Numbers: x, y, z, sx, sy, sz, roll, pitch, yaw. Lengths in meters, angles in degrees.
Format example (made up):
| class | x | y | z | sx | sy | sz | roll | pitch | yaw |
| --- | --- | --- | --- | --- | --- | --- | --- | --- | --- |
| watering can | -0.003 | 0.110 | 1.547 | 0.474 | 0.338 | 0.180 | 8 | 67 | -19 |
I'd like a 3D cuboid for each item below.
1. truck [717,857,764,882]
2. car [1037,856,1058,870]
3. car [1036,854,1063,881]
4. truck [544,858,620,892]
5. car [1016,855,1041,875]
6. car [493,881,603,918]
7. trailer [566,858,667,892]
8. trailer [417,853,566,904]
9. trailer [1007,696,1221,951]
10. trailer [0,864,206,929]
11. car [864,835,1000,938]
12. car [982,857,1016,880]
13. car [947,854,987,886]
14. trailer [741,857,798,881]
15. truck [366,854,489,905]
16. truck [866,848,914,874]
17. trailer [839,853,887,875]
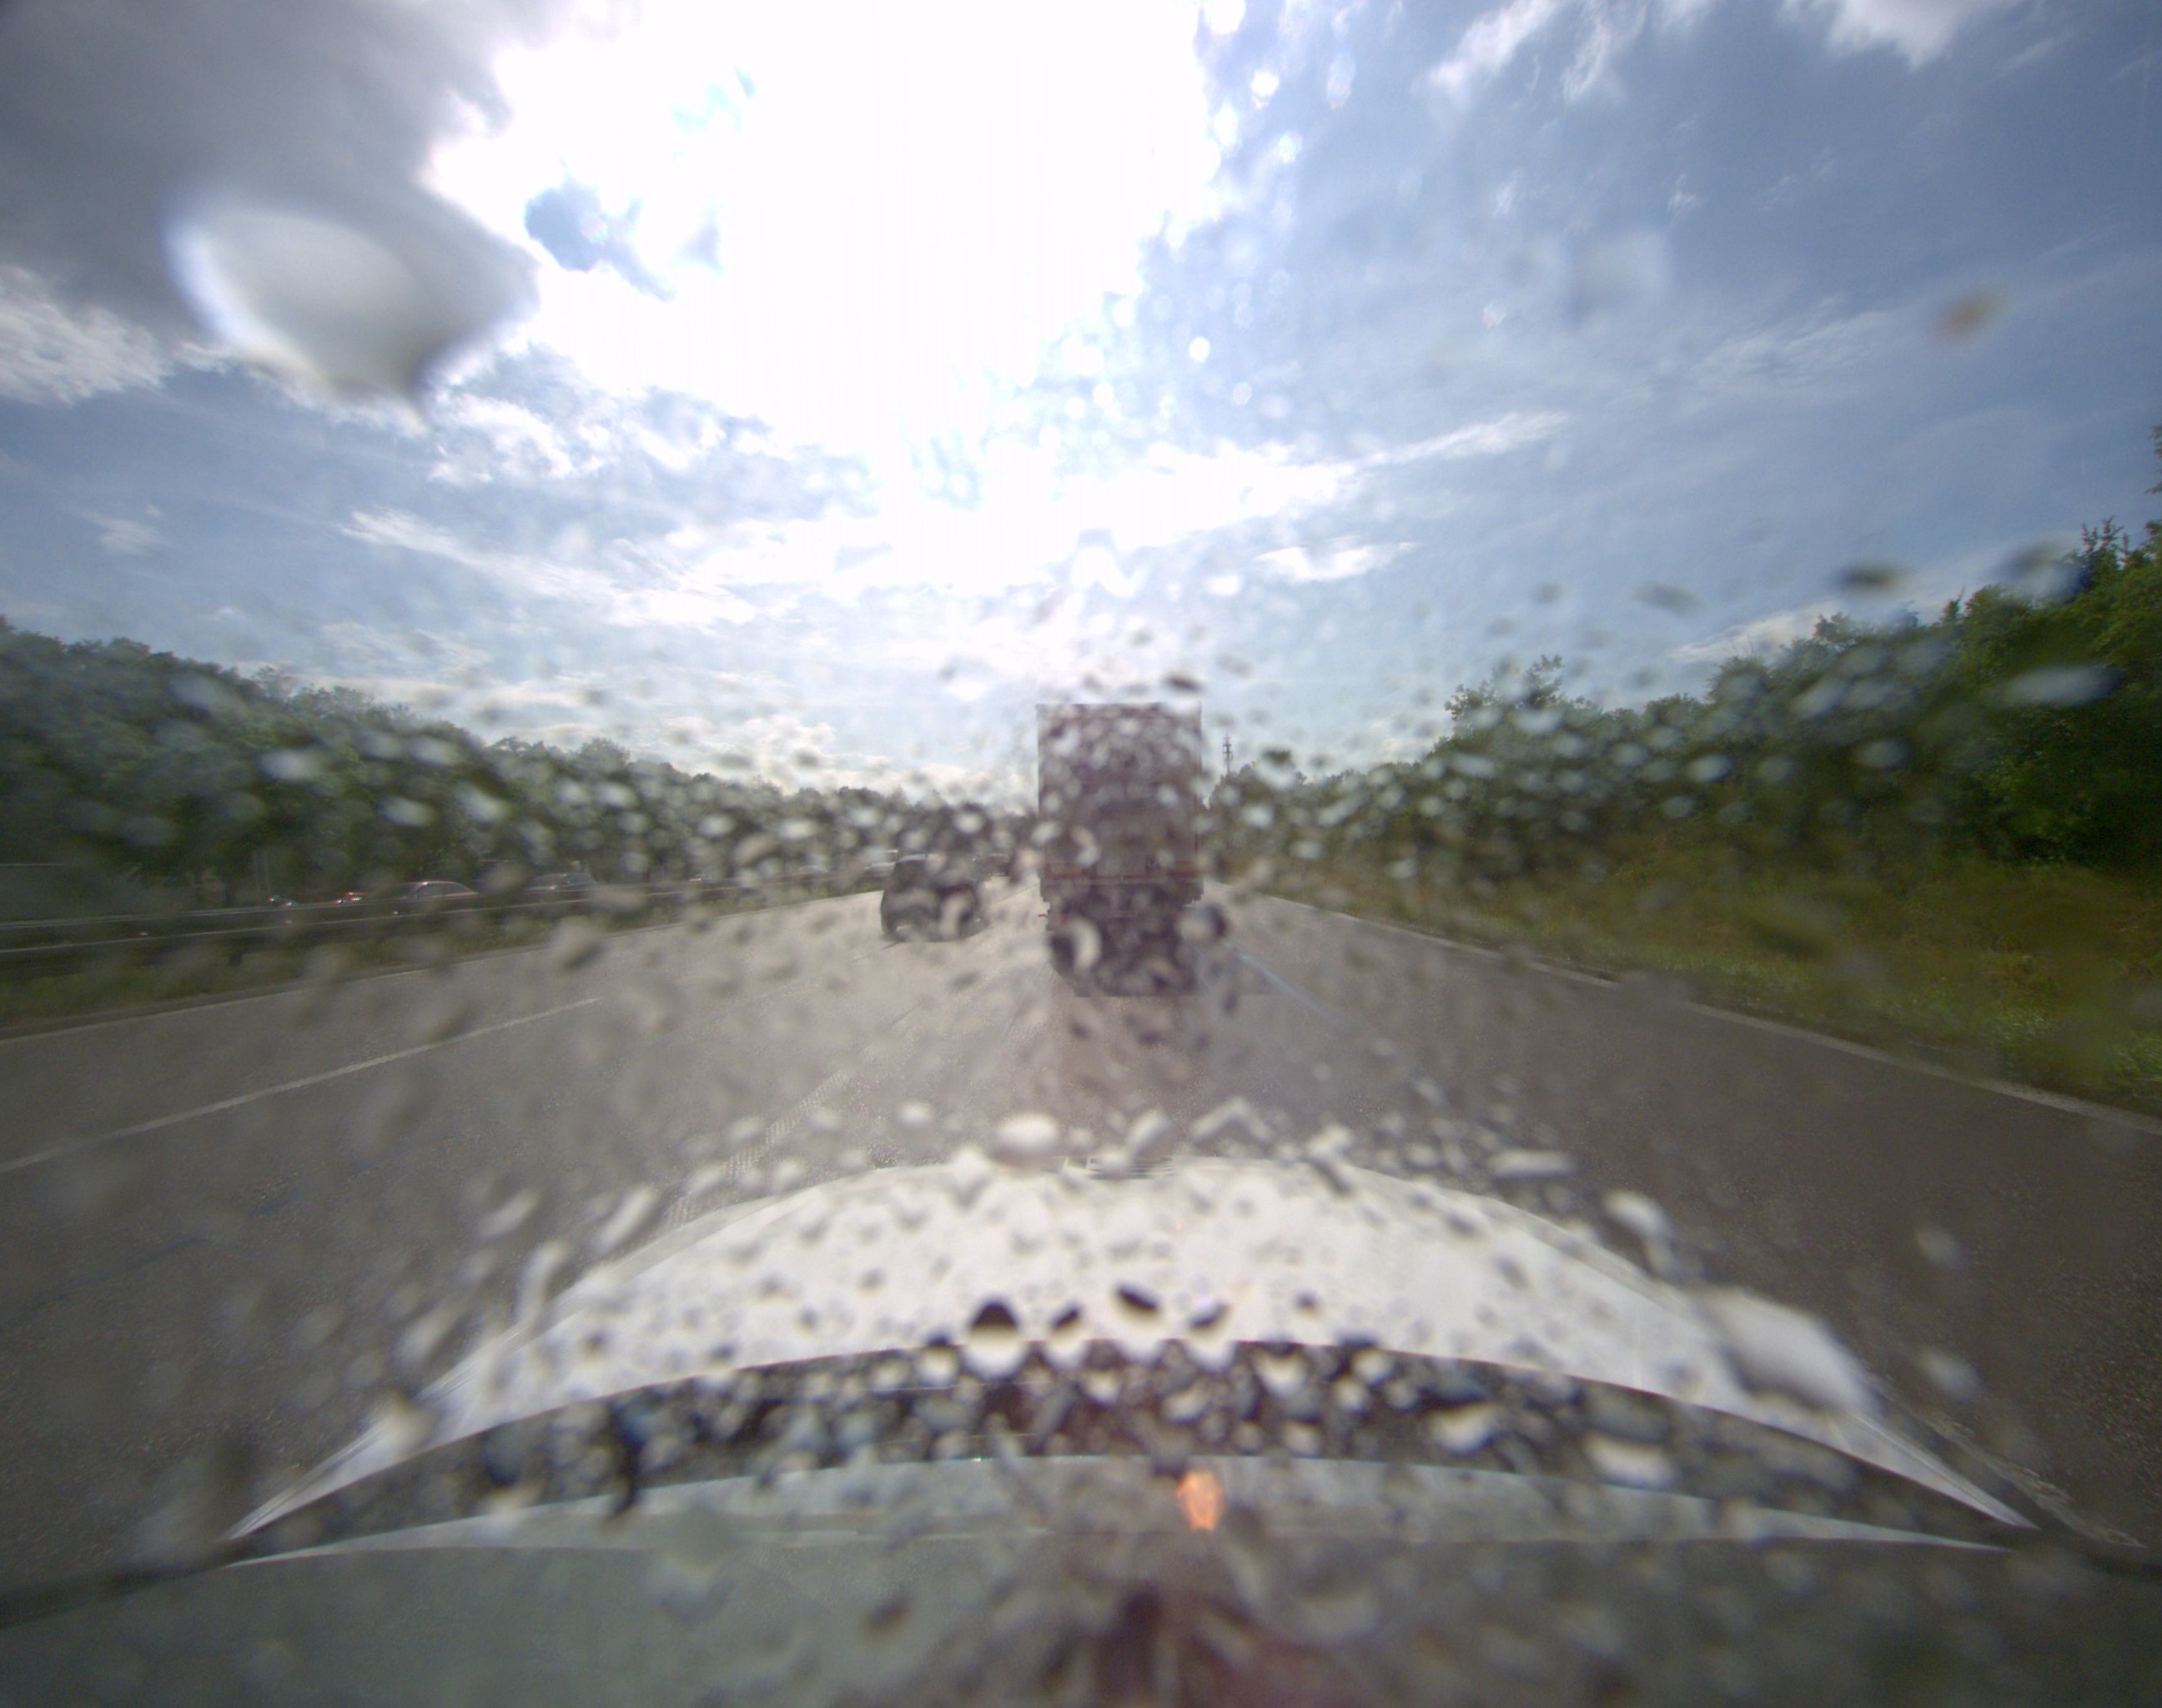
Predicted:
| class | x | y | z | sx | sy | sz | roll | pitch | yaw |
| --- | --- | --- | --- | --- | --- | --- | --- | --- | --- |
| truck | -51.525 | 2.351 | 123.456 | 3.767 | 3.660 | 6.719 | 0 | -1 | 7 |
| car | -3.809 | 1.034 | 93.020 | 1.985 | 1.565 | 4.760 | 0 | 0 | 3 |
| car | -2.148 | 0.953 | 56.887 | 1.687 | 1.805 | 3.976 | 0 | -1 | 0 |
| truck | -55.575 | 2.316 | 90.995 | 3.772 | 3.589 | 7.359 | 0 | -1 | 3 |
| car | -5.331 | 1.104 | 83.684 | 1.970 | 2.054 | 4.760 | 0 | -1 | 3 |
| car | -23.479 | 1.966 | 36.113 | 1.823 | 1.392 | 4.435 | 0 | 0 | 2 |
| trailer | -55.214 | 2.348 | 97.491 | 3.773 | 3.649 | 13.356 | -2 | 0 | 3 |
| trailer | -56.781 | 2.143 | 79.273 | 3.773 | 4.405 | 13.812 | -2 | 0 | 3 |
| trailer | 0.678 | -0.473 | 19.531 | 3.272 | 3.898 | 14.132 | 0 | 0 | 1 |
| trailer | -56.673 | 2.288 | 44.888 | 3.337 | 3.216 | 12.472 | -2 | 0 | 0 |
| car | -3.096 | 0.642 | 18.017 | 2.268 | 1.954 | 4.817 | 0 | -1 | -2 |
| car | -6.382 | 1.112 | 63.643 | 1.901 | 1.636 | 4.620 | -2 | 0 | 3 |
| car | -6.601 | 0.909 | 47.432 | 1.687 | 1.805 | 3.976 | 0 | -1 | 0 |
| trailer | -50.242 | 2.360 | 131.892 | 3.766 | 3.649 | 10.525 | -2 | 0 | 9 |
| truck | -57.125 | 2.155 | 71.581 | 3.772 | 4.234 | 8.422 | 0 | -1 | 3 |
| truck | -14.627 | 0.533 | 62.704 | 2.248 | 1.894 | 5.448 | 0 | -1 | 2 |
| trailer | -43.066 | 2.009 | 161.623 | 3.759 | 4.117 | 11.774 | -1 | -1 | 16 |
